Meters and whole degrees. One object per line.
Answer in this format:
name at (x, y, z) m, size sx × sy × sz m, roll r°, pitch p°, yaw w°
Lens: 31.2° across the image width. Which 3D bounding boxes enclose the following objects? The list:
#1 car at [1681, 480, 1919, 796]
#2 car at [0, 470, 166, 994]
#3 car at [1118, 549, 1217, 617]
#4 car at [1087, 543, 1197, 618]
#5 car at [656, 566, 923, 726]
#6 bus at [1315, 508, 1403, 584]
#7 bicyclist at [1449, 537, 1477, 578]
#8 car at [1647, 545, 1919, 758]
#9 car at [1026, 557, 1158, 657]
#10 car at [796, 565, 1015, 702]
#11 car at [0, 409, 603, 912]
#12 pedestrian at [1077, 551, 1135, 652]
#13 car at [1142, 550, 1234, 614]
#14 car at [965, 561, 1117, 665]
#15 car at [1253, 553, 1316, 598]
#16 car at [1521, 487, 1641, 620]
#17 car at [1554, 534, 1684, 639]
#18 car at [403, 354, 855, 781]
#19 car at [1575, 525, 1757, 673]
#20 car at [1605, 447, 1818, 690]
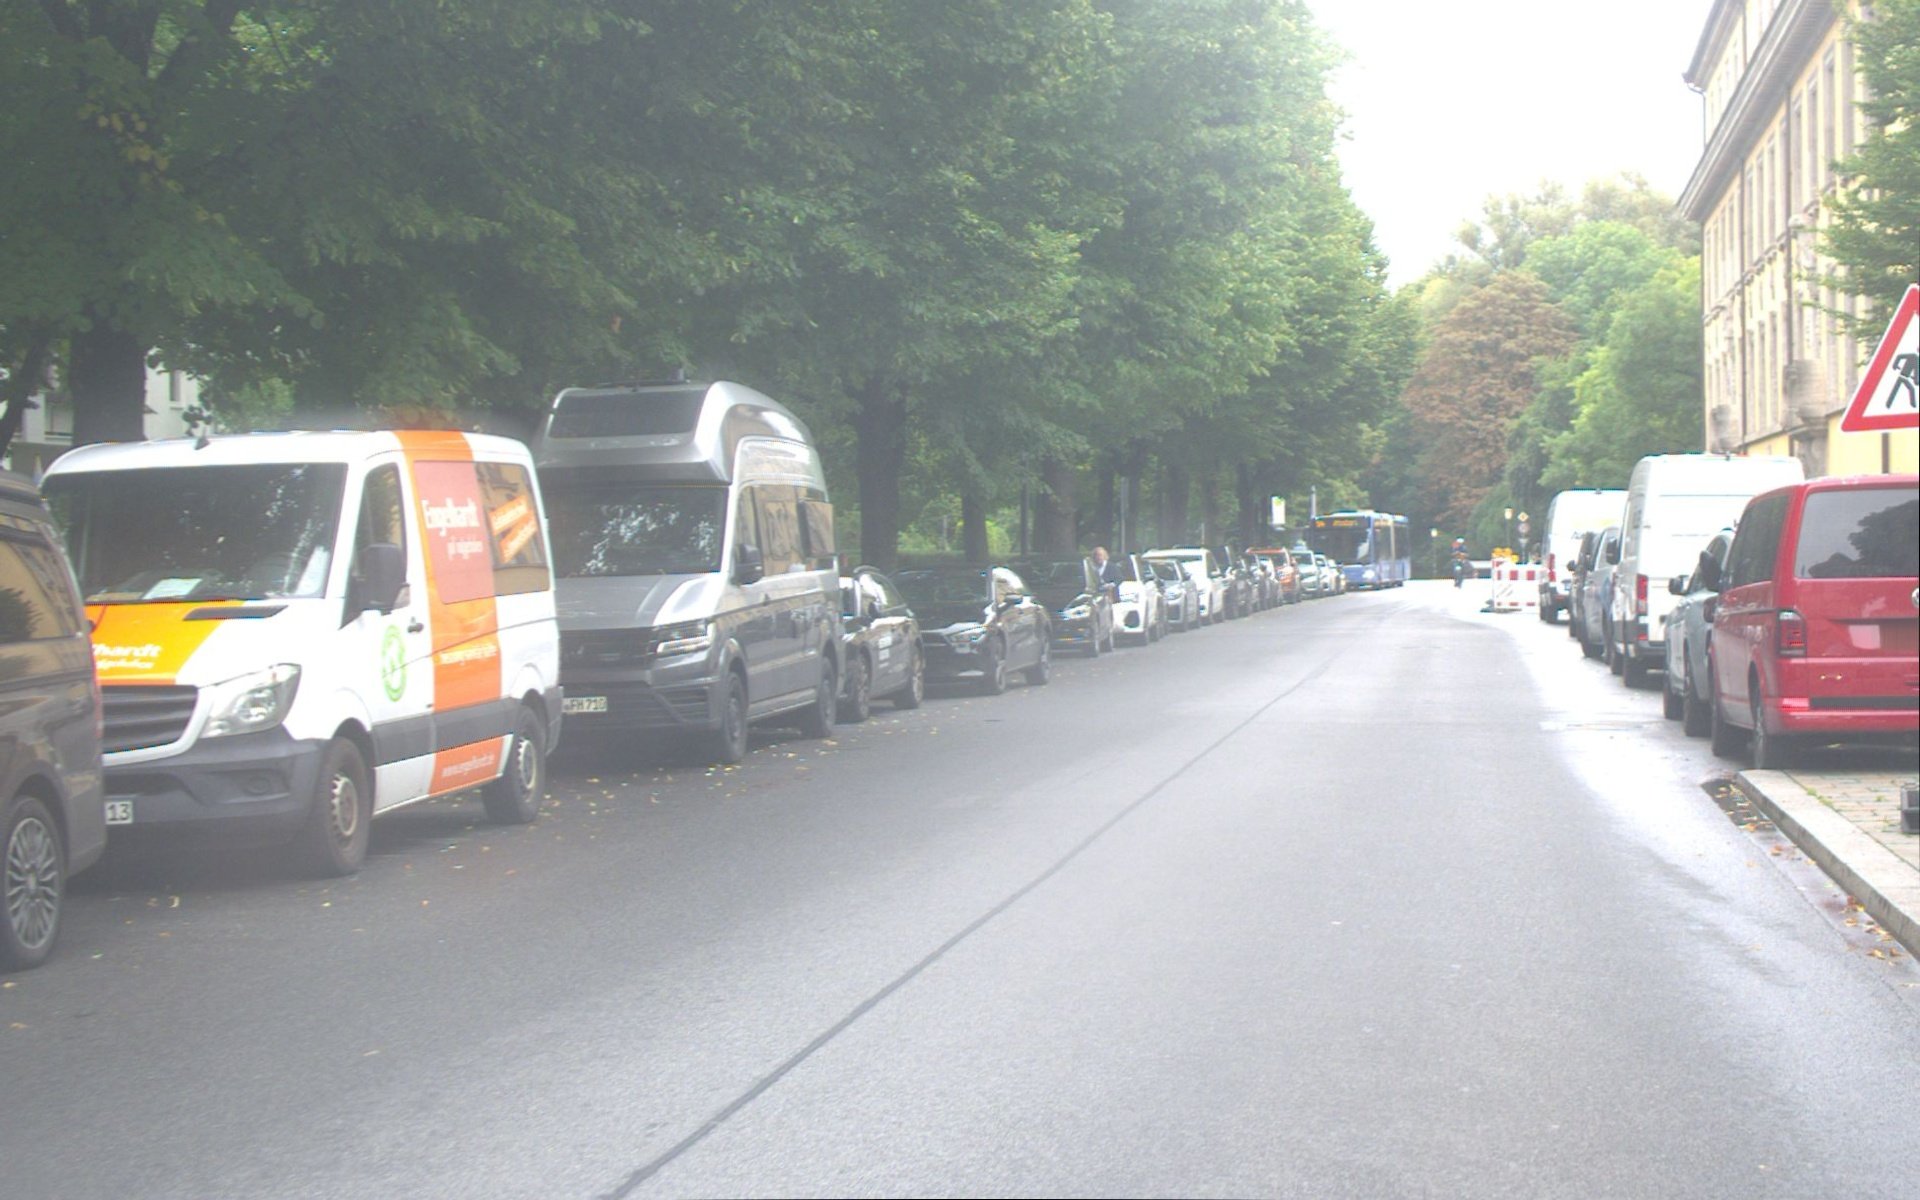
car at (6.142, 0.194, 23.464) m, size 1.912 × 1.930 × 4.968 m, roll 0°, pitch 1°, yaw 6°
car at (-4.646, 0.526, 11.437) m, size 2.026 × 1.901 × 5.665 m, roll -2°, pitch 1°, yaw 7°
car at (4.501, -0.381, 74.105) m, size 1.994 × 1.415 × 3.999 m, roll 0°, pitch 1°, yaw 6°
car at (3.642, -0.406, 68.208) m, size 1.994 × 1.415 × 3.999 m, roll 0°, pitch 1°, yaw 6°
car at (-1.564, 0.399, 33.051) m, size 1.994 × 1.415 × 3.999 m, roll 0°, pitch 1°, yaw 6°
bus at (15.721, -2.125, 135.953) m, size 2.938 × 2.909 × 8.239 m, roll 0°, pitch 1°, yaw 3°
bicyclist at (19.047, -1.623, 130.290) m, size 1.021 × 1.540 × 1.257 m, roll -1°, pitch 1°, yaw 9°
car at (6.934, 0.365, 28.875) m, size 1.994 × 1.629 × 4.563 m, roll -1°, pitch 1°, yaw 8°
car at (2.289, 0.096, 58.416) m, size 1.994 × 1.614 × 4.129 m, roll 0°, pitch 1°, yaw 6°
car at (-0.546, 0.336, 38.509) m, size 1.994 × 1.415 × 4.129 m, roll 0°, pitch 1°, yaw 6°
car at (-3.711, 0.255, 18.594) m, size 2.084 × 2.257 × 5.601 m, roll -2°, pitch 1°, yaw 9°
pedestrian at (2.318, 0.020, 54.744) m, size 0.883 × 1.592 × 0.823 m, roll 0°, pitch 1°, yaw 1°
car at (5.302, -0.438, 79.561) m, size 1.994 × 1.415 × 3.999 m, roll 0°, pitch 1°, yaw 6°
car at (1.271, 0.165, 51.957) m, size 1.994 × 1.481 × 4.129 m, roll 0°, pitch 1°, yaw 6°
car at (10.570, -0.812, 111.932) m, size 1.994 × 1.415 × 3.999 m, roll 0°, pitch 1°, yaw 6°
car at (12.656, -0.957, 70.259) m, size 1.839 × 2.613 × 4.384 m, roll -1°, pitch 1°, yaw 3°
car at (10.932, -0.244, 57.236) m, size 1.795 × 1.673 × 3.999 m, roll -1°, pitch 1°, yaw 6°
car at (-2.443, -0.266, 27.353) m, size 2.173 × 2.992 × 6.231 m, roll -1°, pitch 1°, yaw 8°
car at (9.369, -0.041, 45.888) m, size 1.994 × 1.876 × 3.999 m, roll -1°, pitch 1°, yaw 6°
car at (8.459, -0.376, 39.093) m, size 1.994 × 2.549 × 5.428 m, roll -1°, pitch 1°, yaw 9°
